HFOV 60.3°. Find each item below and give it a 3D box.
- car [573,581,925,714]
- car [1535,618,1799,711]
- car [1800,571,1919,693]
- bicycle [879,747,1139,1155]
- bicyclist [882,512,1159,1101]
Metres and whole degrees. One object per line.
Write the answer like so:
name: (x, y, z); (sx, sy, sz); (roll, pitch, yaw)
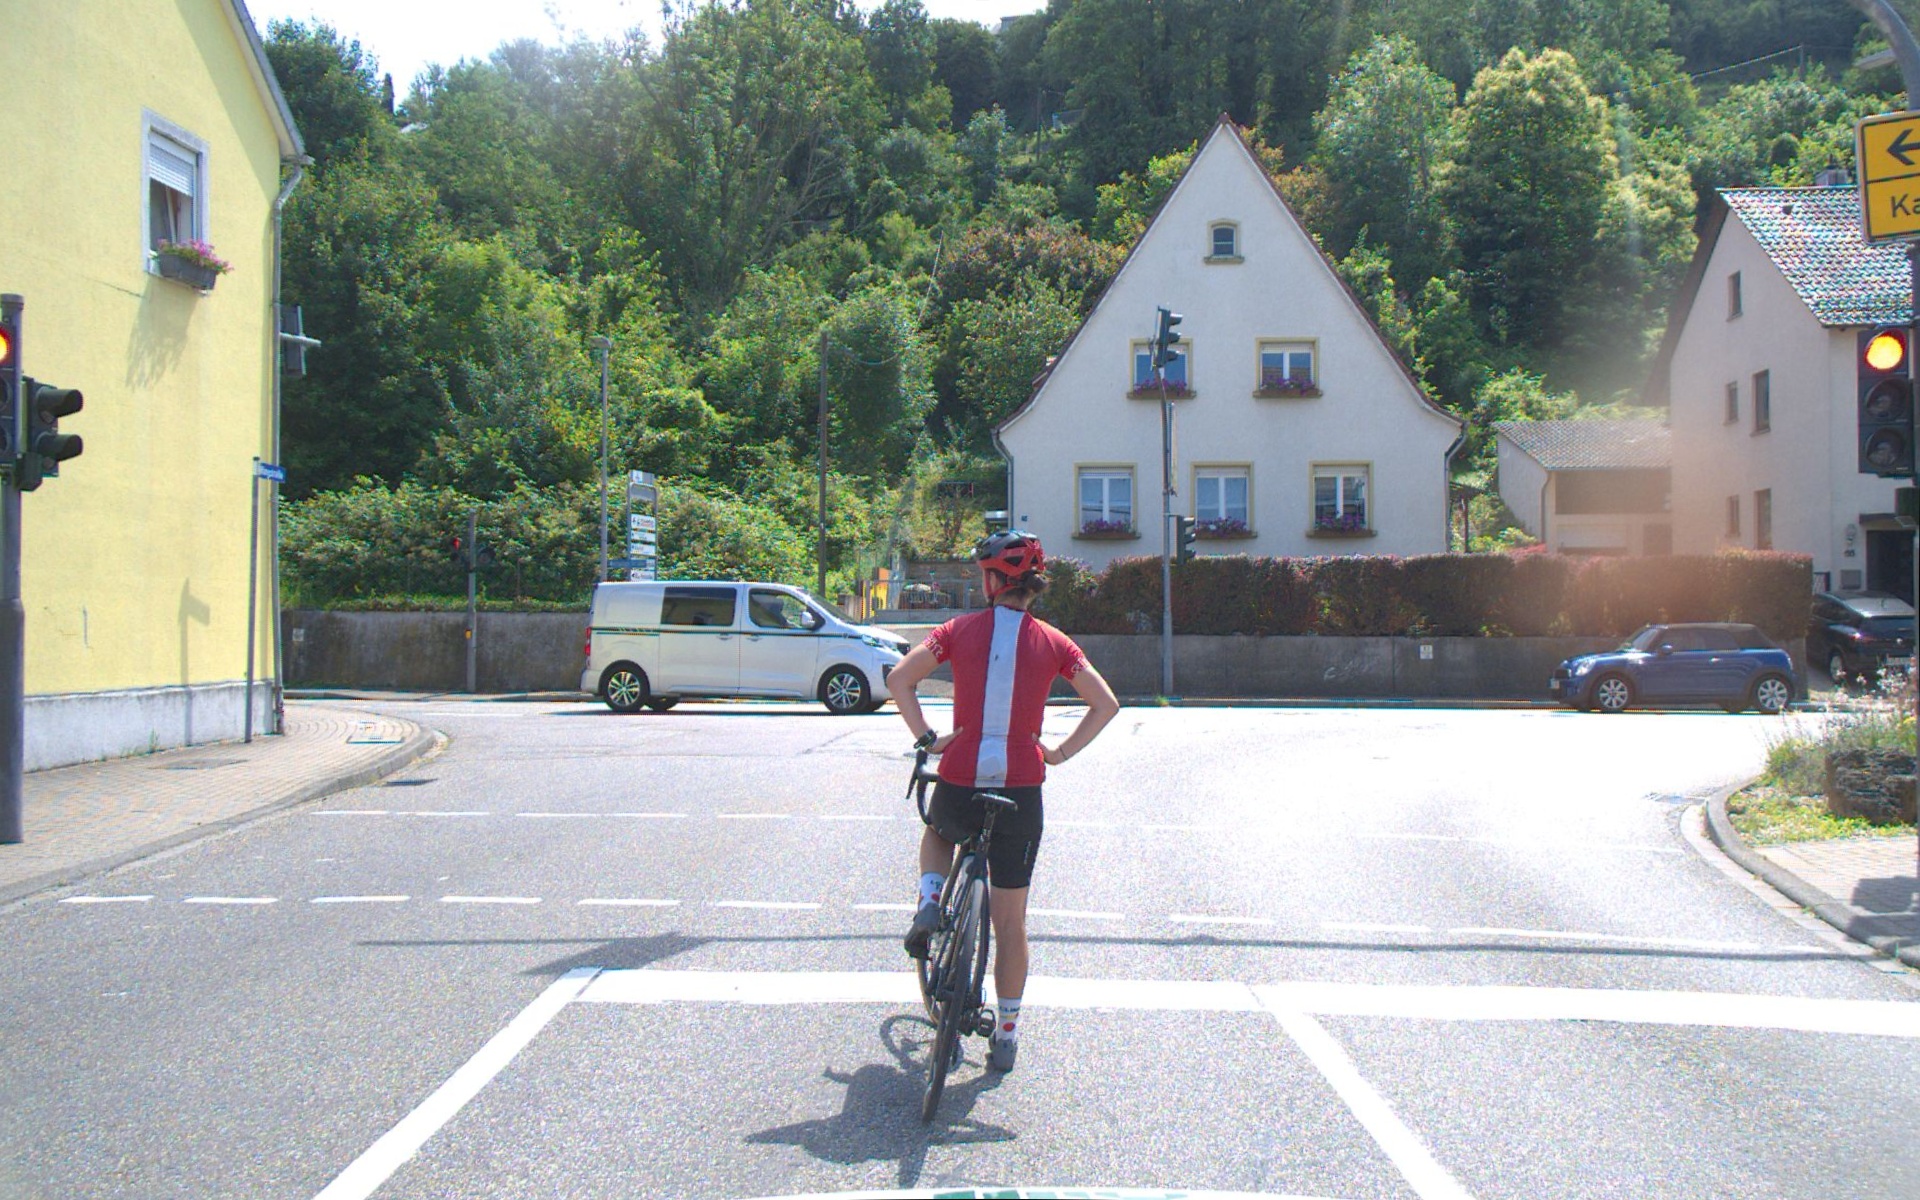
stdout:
car: (-3.028, 0.695, 24.330); (4.769, 1.854, 2.001); (0, -2, 8)
car: (11.239, 1.035, 26.462); (3.533, 1.387, 1.645); (1, -3, 3)
car: (17.283, 0.542, 31.478); (1.758, 1.411, 3.696); (0, 13, 19)
bicycle: (0.091, 0.999, 5.182); (0.617, 0.920, 1.655); (1, 0, -5)
bicyclist: (0.158, 0.602, 5.230); (0.746, 1.693, 0.868); (1, 0, -5)
